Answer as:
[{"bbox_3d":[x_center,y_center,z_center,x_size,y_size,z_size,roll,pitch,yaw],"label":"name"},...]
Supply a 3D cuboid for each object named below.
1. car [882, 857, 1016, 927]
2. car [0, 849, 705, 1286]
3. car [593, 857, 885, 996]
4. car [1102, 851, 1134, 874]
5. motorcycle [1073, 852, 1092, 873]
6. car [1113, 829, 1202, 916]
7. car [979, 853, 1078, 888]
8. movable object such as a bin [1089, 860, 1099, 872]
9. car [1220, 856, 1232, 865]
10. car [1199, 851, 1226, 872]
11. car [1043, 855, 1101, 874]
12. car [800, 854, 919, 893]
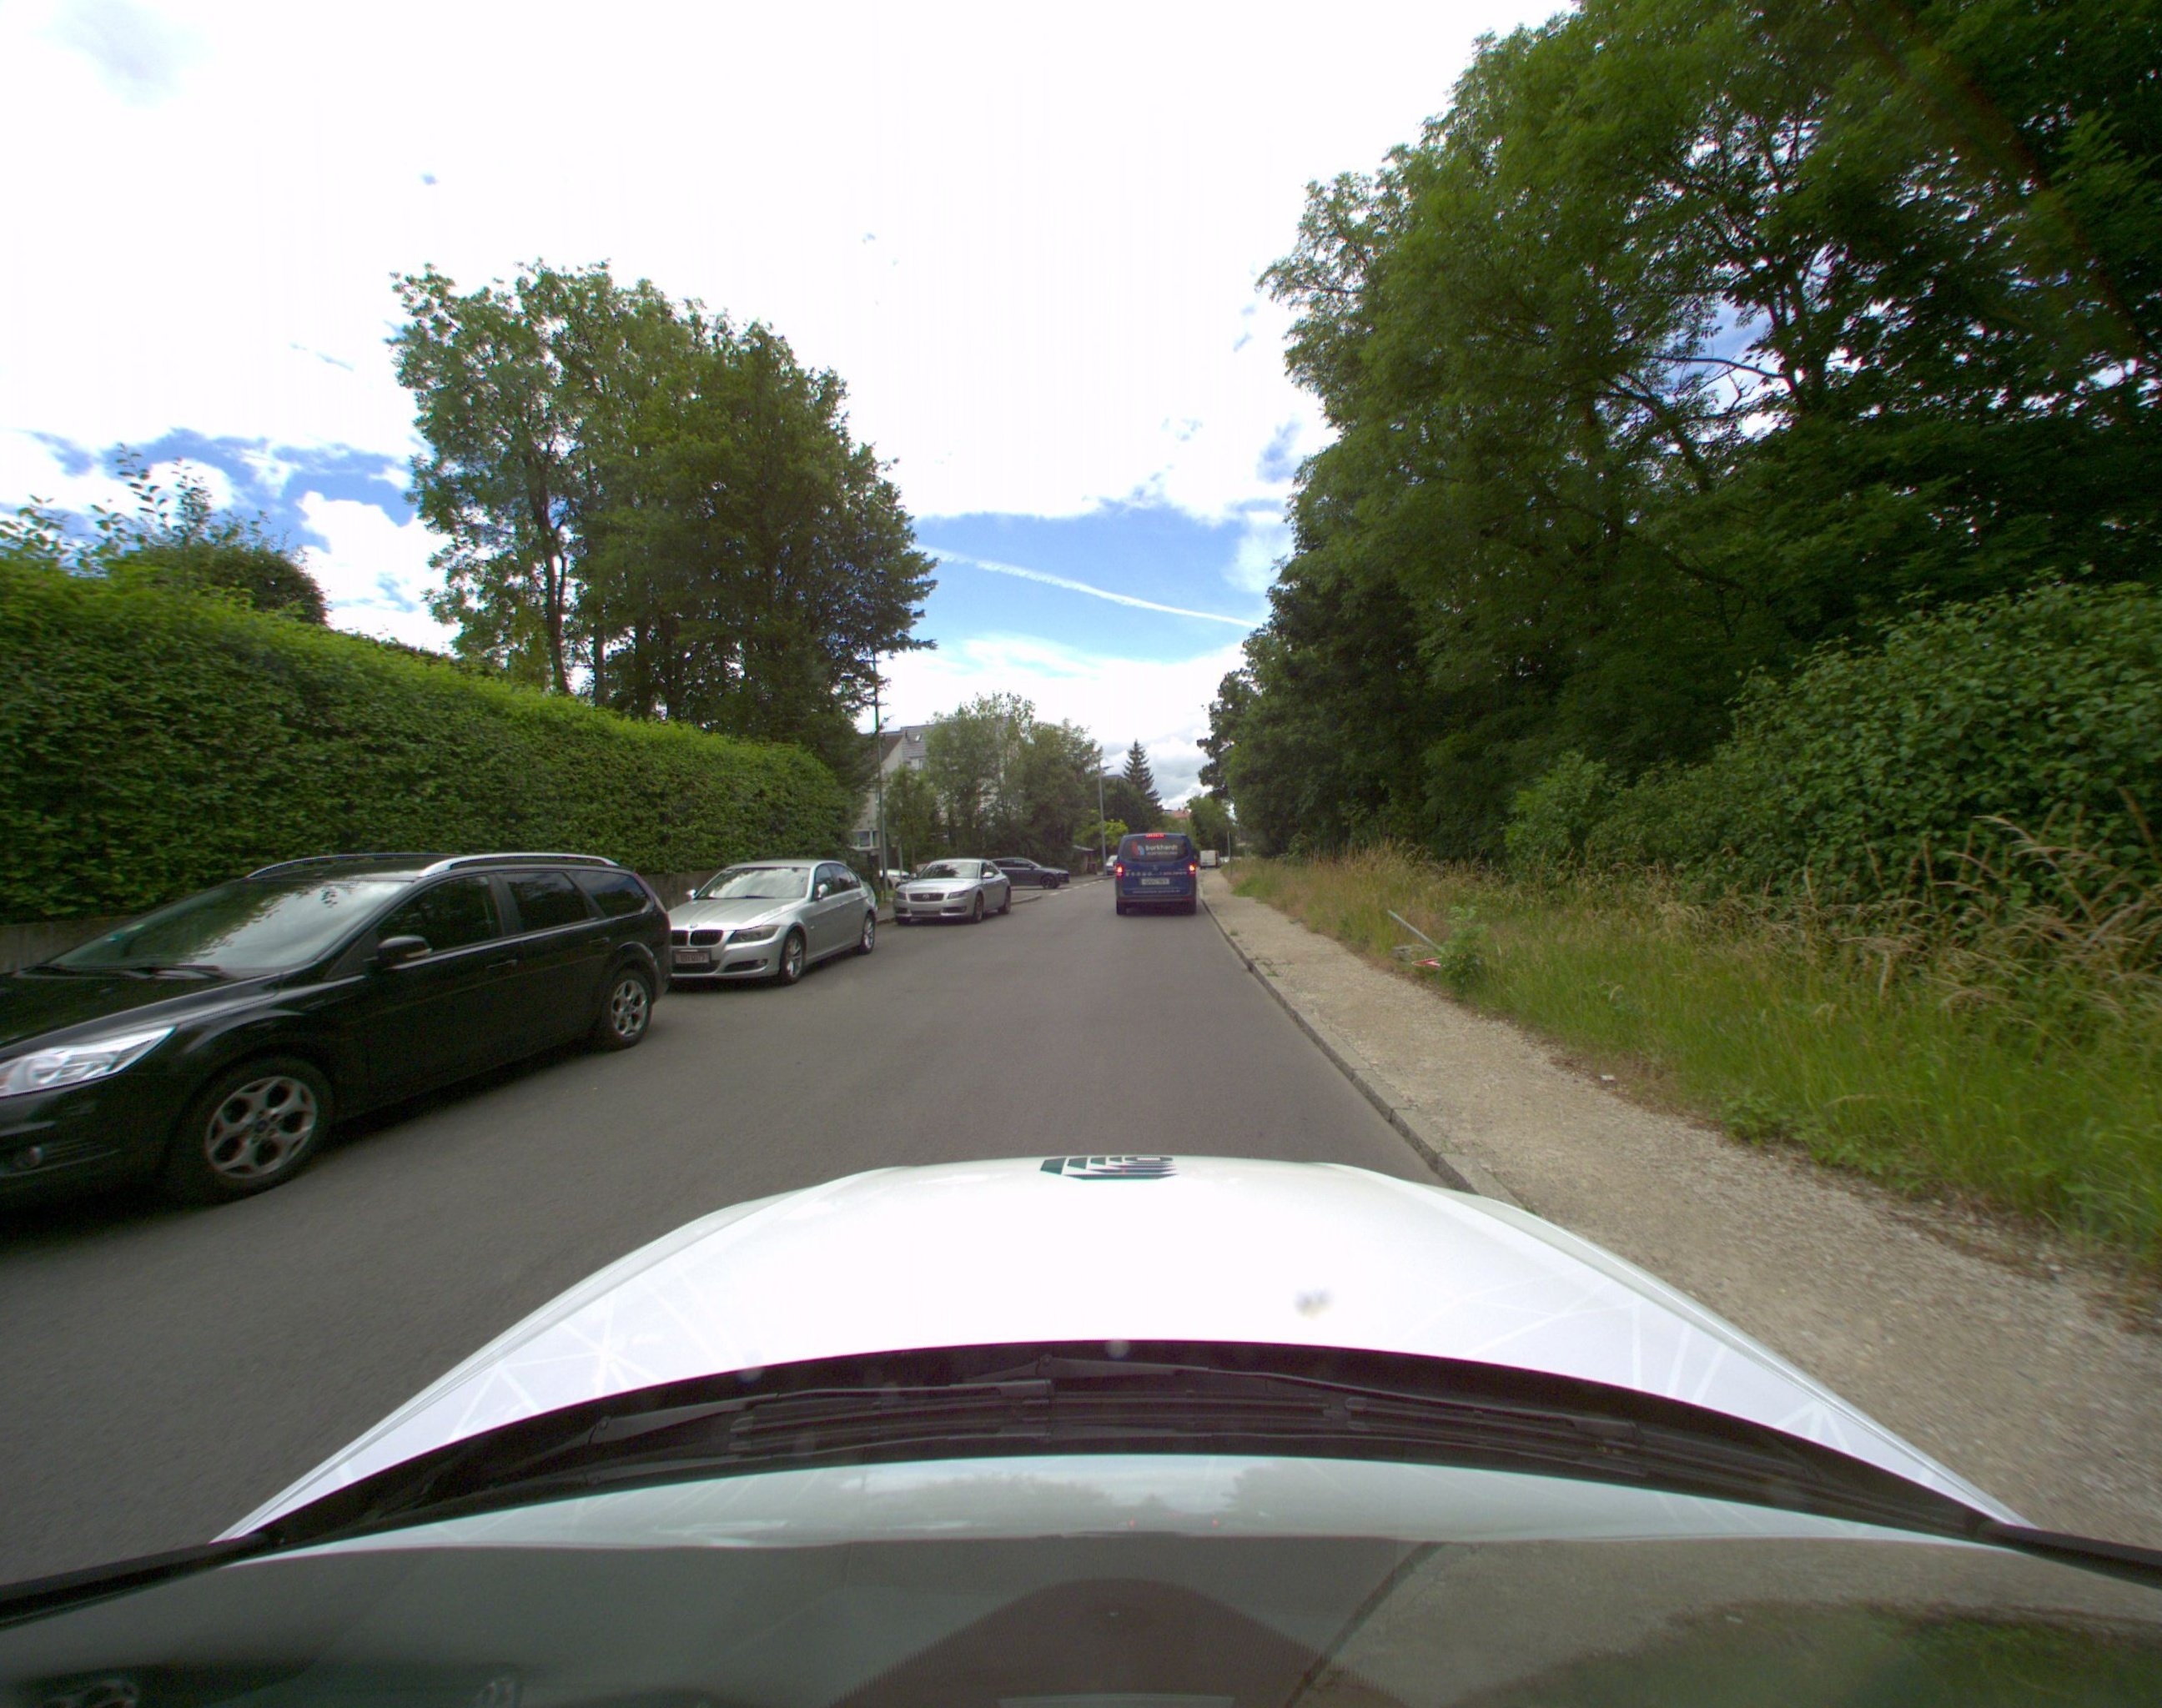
[{"bbox_3d":[-2.879,0.780,18.805,1.821,1.374,4.454,-1,0,7],"label":"car"},{"bbox_3d":[-4.402,0.751,5.141,1.649,1.533,4.480,-1,0,5],"label":"car"},{"bbox_3d":[-4.059,0.756,10.570,1.768,1.374,4.343,-1,0,2],"label":"car"},{"bbox_3d":[2.619,0.586,57.162,1.695,1.468,4.087,-1,0,10],"label":"car"},{"bbox_3d":[0.107,0.625,60.115,0.804,1.485,2.905,-1,-1,12],"label":"motorcycle"},{"bbox_3d":[1.886,0.409,20.344,1.927,1.880,4.536,-2,0,5],"label":"car"},{"bbox_3d":[-2.349,0.751,36.942,4.144,1.447,1.744,-1,-1,7],"label":"car"},{"bbox_3d":[1.000,0.940,62.092,0.586,0.909,0.703,-1,-1,16],"label":"movable object such as a bin"},{"bbox_3d":[25.403,1.117,142.450,1.736,1.404,4.017,-1,0,16],"label":"car"},{"bbox_3d":[13.983,0.717,86.422,2.189,2.063,6.159,-2,0,15],"label":"car"},{"bbox_3d":[-0.725,0.898,67.243,4.450,1.441,1.885,-1,-1,13],"label":"car"},{"bbox_3d":[-10.332,0.911,38.217,4.907,1.670,2.042,-2,-1,8],"label":"car"}]
